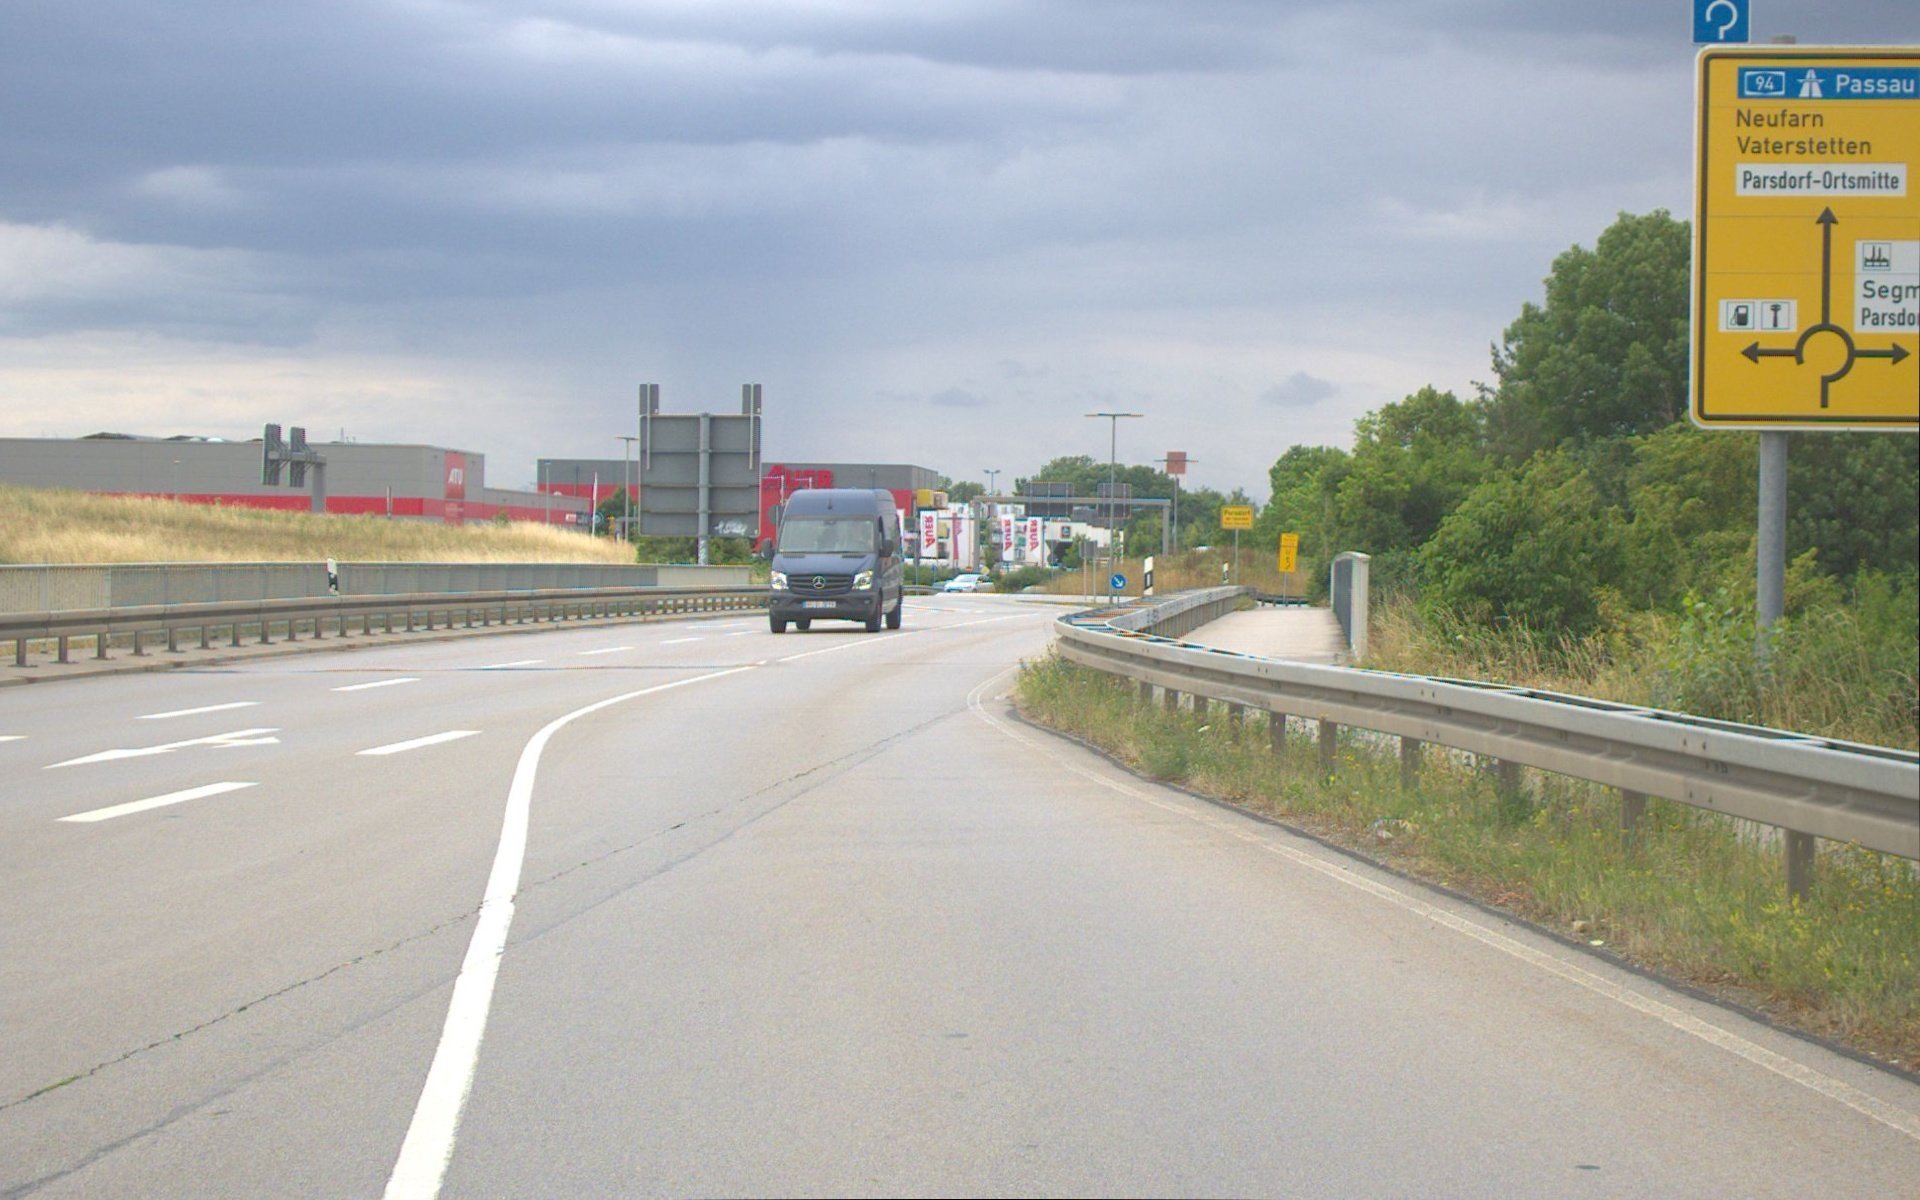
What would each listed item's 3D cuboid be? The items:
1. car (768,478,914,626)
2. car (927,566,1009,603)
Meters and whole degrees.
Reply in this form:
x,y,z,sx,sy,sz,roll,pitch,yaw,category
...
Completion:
x,y,z,sx,sy,sz,roll,pitch,yaw,category
-2.131,-0.892,63.164,1.994,2.583,6.003,1,1,4,car
0.440,-0.861,186.817,3.993,1.870,1.997,2,1,29,car
